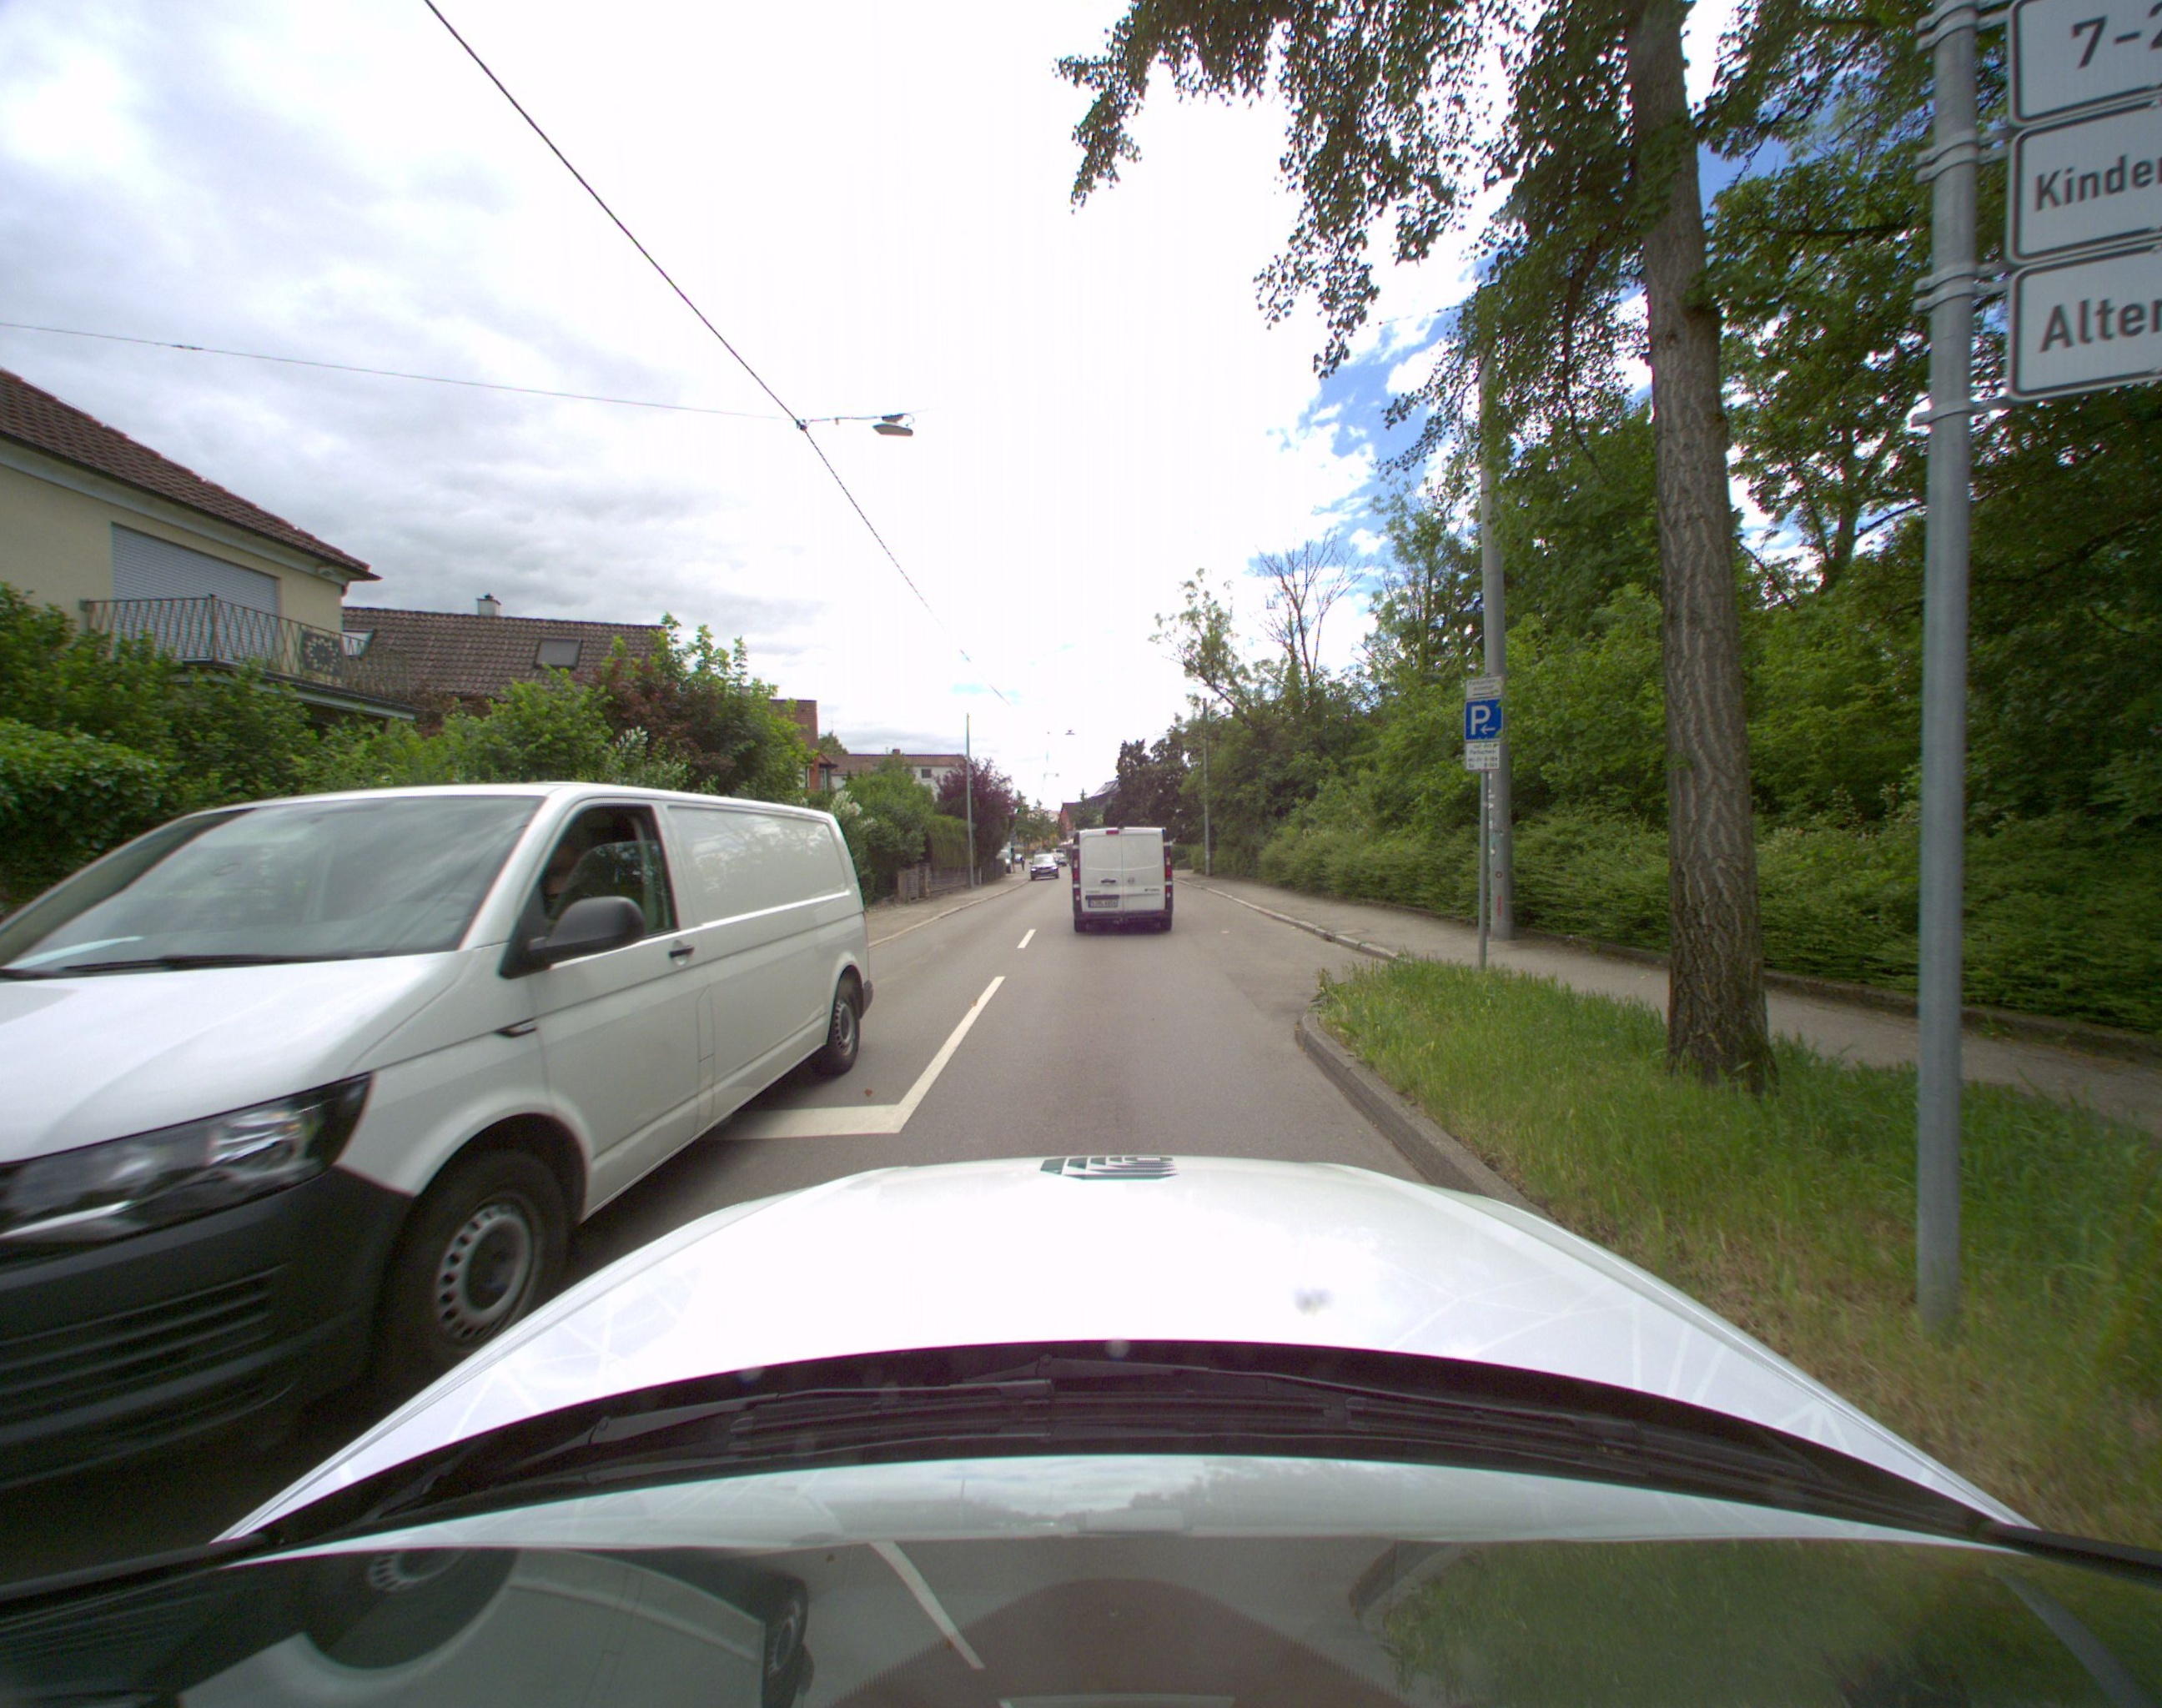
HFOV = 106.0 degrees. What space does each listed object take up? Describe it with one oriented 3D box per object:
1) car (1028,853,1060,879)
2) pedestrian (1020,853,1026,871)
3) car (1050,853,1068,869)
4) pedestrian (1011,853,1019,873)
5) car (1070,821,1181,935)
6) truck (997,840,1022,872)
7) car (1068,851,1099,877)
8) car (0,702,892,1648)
[{"bbox_3d":[-2.407,0.754,52.741,1.879,1.512,4.107,-4,0,-4],"label":"car"},{"bbox_3d":[-5.935,0.817,83.254,0.513,1.797,0.542,0,0,-3],"label":"pedestrian"},{"bbox_3d":[-2.582,0.797,95.986,1.823,1.728,3.991,-1,0,-6],"label":"car"},{"bbox_3d":[-5.948,0.818,73.435,0.413,1.714,0.457,-2,-1,44],"label":"pedestrian"},{"bbox_3d":[0.840,0.428,16.632,1.923,1.964,4.403,-1,0,1],"label":"car"},{"bbox_3d":[-6.228,0.163,70.958,1.989,2.683,3.996,0,0,-3],"label":"truck"},{"bbox_3d":[0.212,0.729,62.258,1.887,1.860,4.412,-2,0,6],"label":"car"},{"bbox_3d":[-2.608,0.682,4.229,1.861,1.911,5.116,-4,0,1],"label":"car"}]
